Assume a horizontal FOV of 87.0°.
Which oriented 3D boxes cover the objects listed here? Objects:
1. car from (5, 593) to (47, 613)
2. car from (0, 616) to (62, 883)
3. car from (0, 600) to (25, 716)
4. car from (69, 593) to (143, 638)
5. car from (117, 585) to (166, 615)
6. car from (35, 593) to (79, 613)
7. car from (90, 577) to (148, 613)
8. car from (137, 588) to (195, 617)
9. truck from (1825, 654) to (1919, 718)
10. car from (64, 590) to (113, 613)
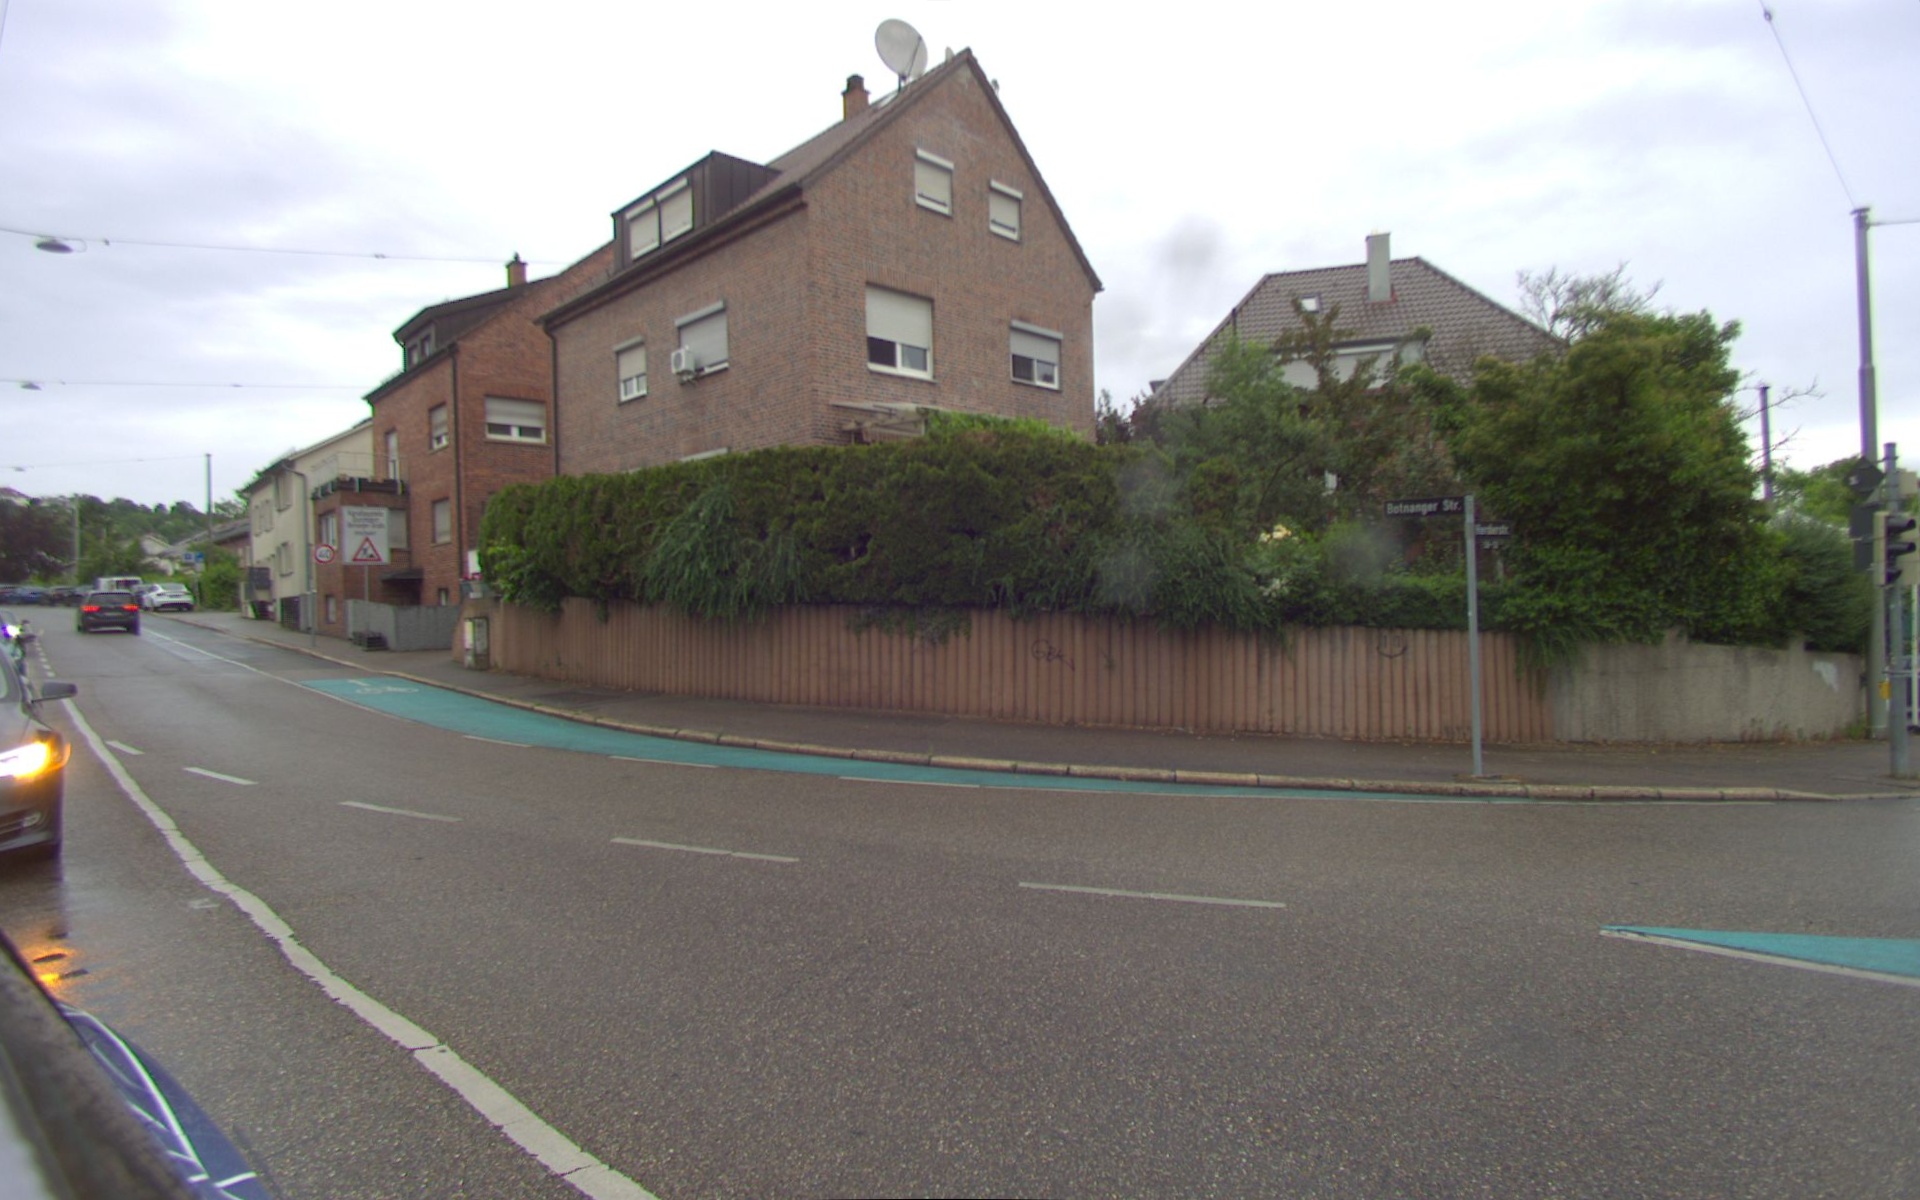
[{"bbox_3d":[-71.280,0.241,77.232,3.895,1.501,1.605,-1,2,36],"label":"car"},{"bbox_3d":[-7.173,0.829,6.312,3.998,1.426,1.847,0,0,41],"label":"car"},{"bbox_3d":[-15.054,0.809,14.872,3.785,1.601,1.765,0,0,45],"label":"car"},{"bbox_3d":[-33.912,0.595,40.151,4.175,1.693,1.827,1,-1,45],"label":"car"},{"bbox_3d":[-52.378,-0.008,64.735,4.262,1.817,1.791,0,2,42],"label":"car"},{"bbox_3d":[-66.636,0.250,74.688,3.854,1.407,1.634,-1,2,36],"label":"car"},{"bbox_3d":[-57.025,-0.318,68.592,4.544,2.303,2.229,0,2,41],"label":"car"},{"bbox_3d":[-46.430,0.163,59.141,4.262,1.577,1.921,0,2,42],"label":"car"},{"bbox_3d":[28.216,2.465,29.070,1.878,1.800,4.997,0,-5,-8],"label":"truck"},{"bbox_3d":[-61.776,0.110,71.691,4.002,1.501,1.636,-1,2,34],"label":"car"}]
